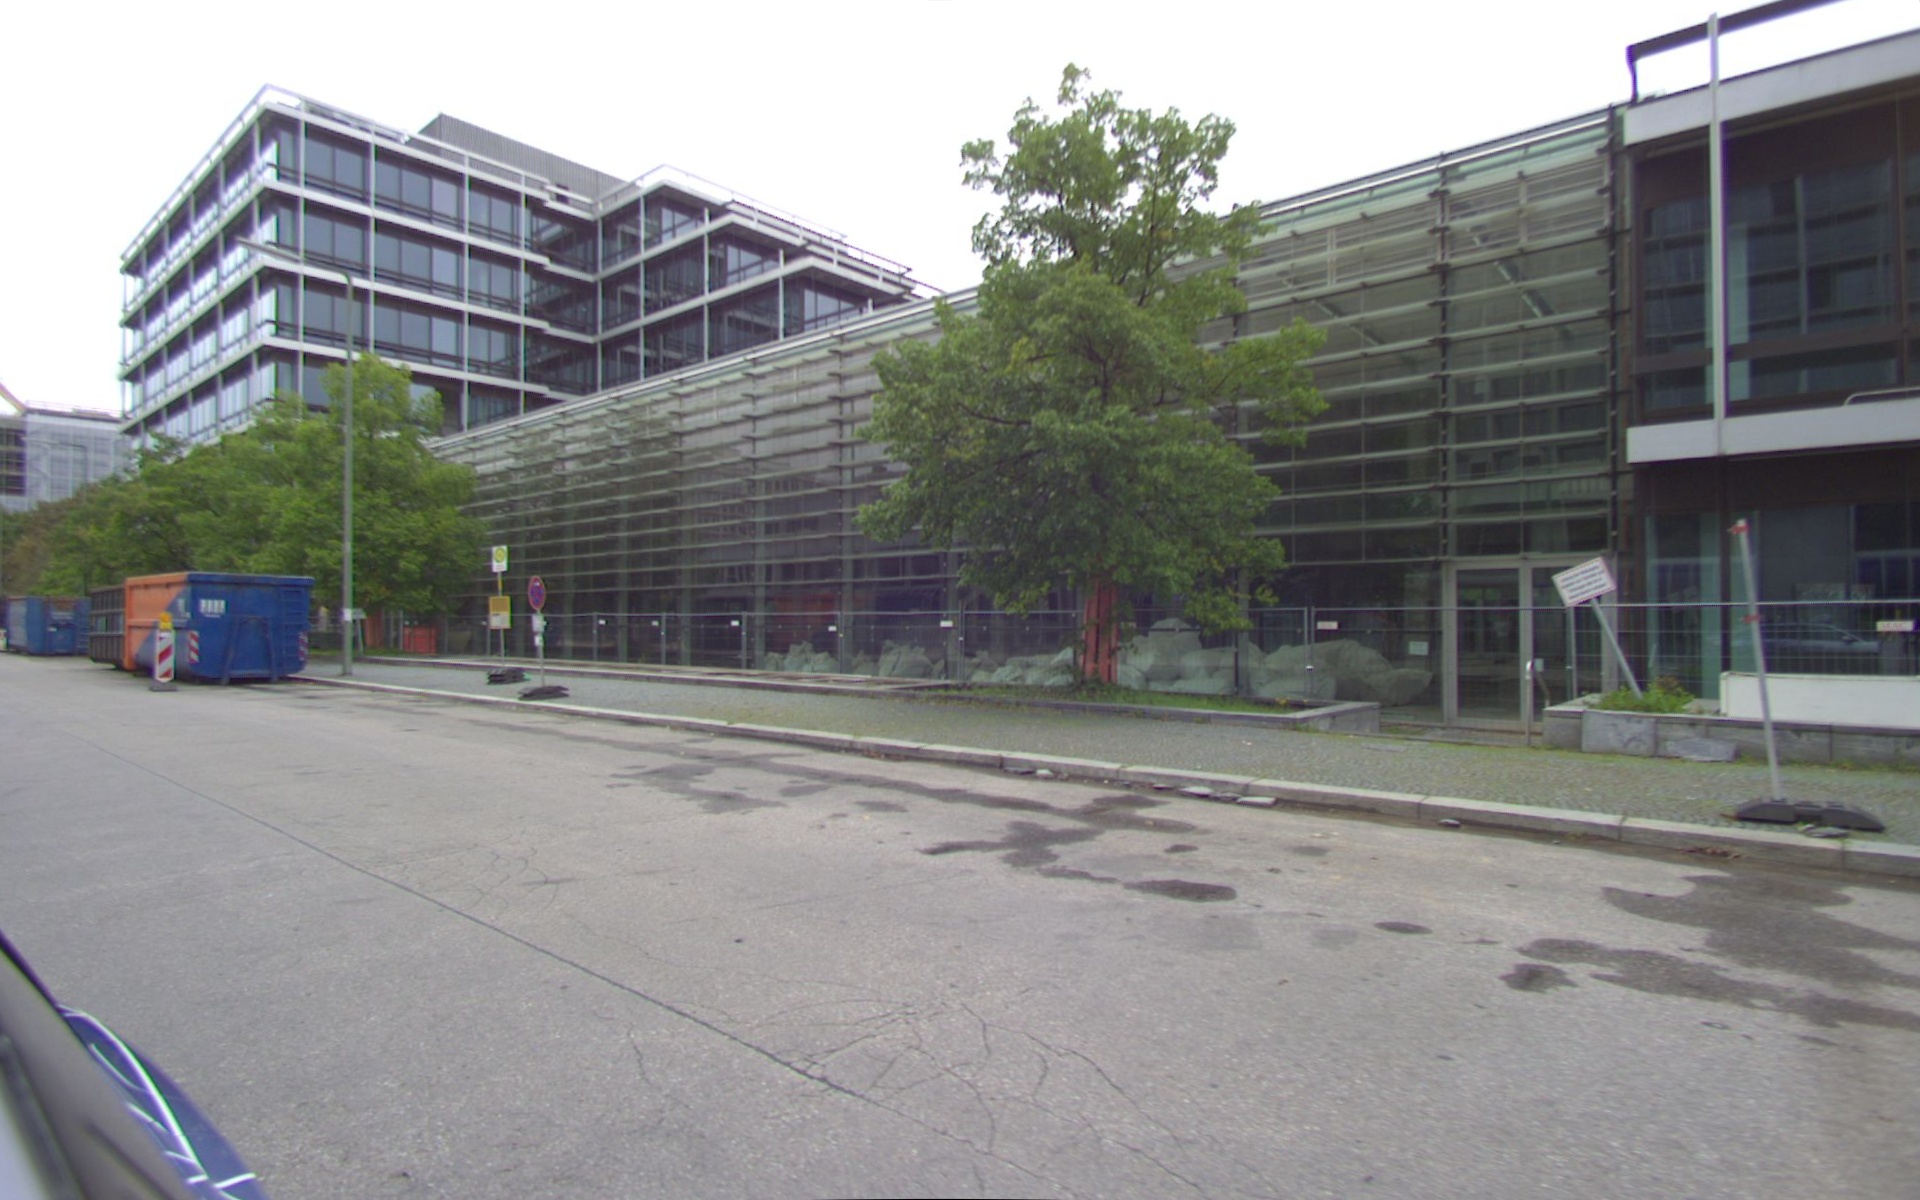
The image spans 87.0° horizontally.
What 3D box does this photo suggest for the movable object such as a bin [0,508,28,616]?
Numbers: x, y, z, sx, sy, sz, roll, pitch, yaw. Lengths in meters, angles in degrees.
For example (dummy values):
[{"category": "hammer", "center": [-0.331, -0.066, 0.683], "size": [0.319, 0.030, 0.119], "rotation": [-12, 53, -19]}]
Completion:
[{"category": "movable object such as a bin", "center": [-63.238, -2.278, 65.523], "size": [11.778, 6.614, 2.874], "rotation": [-1, -2, 41]}]
